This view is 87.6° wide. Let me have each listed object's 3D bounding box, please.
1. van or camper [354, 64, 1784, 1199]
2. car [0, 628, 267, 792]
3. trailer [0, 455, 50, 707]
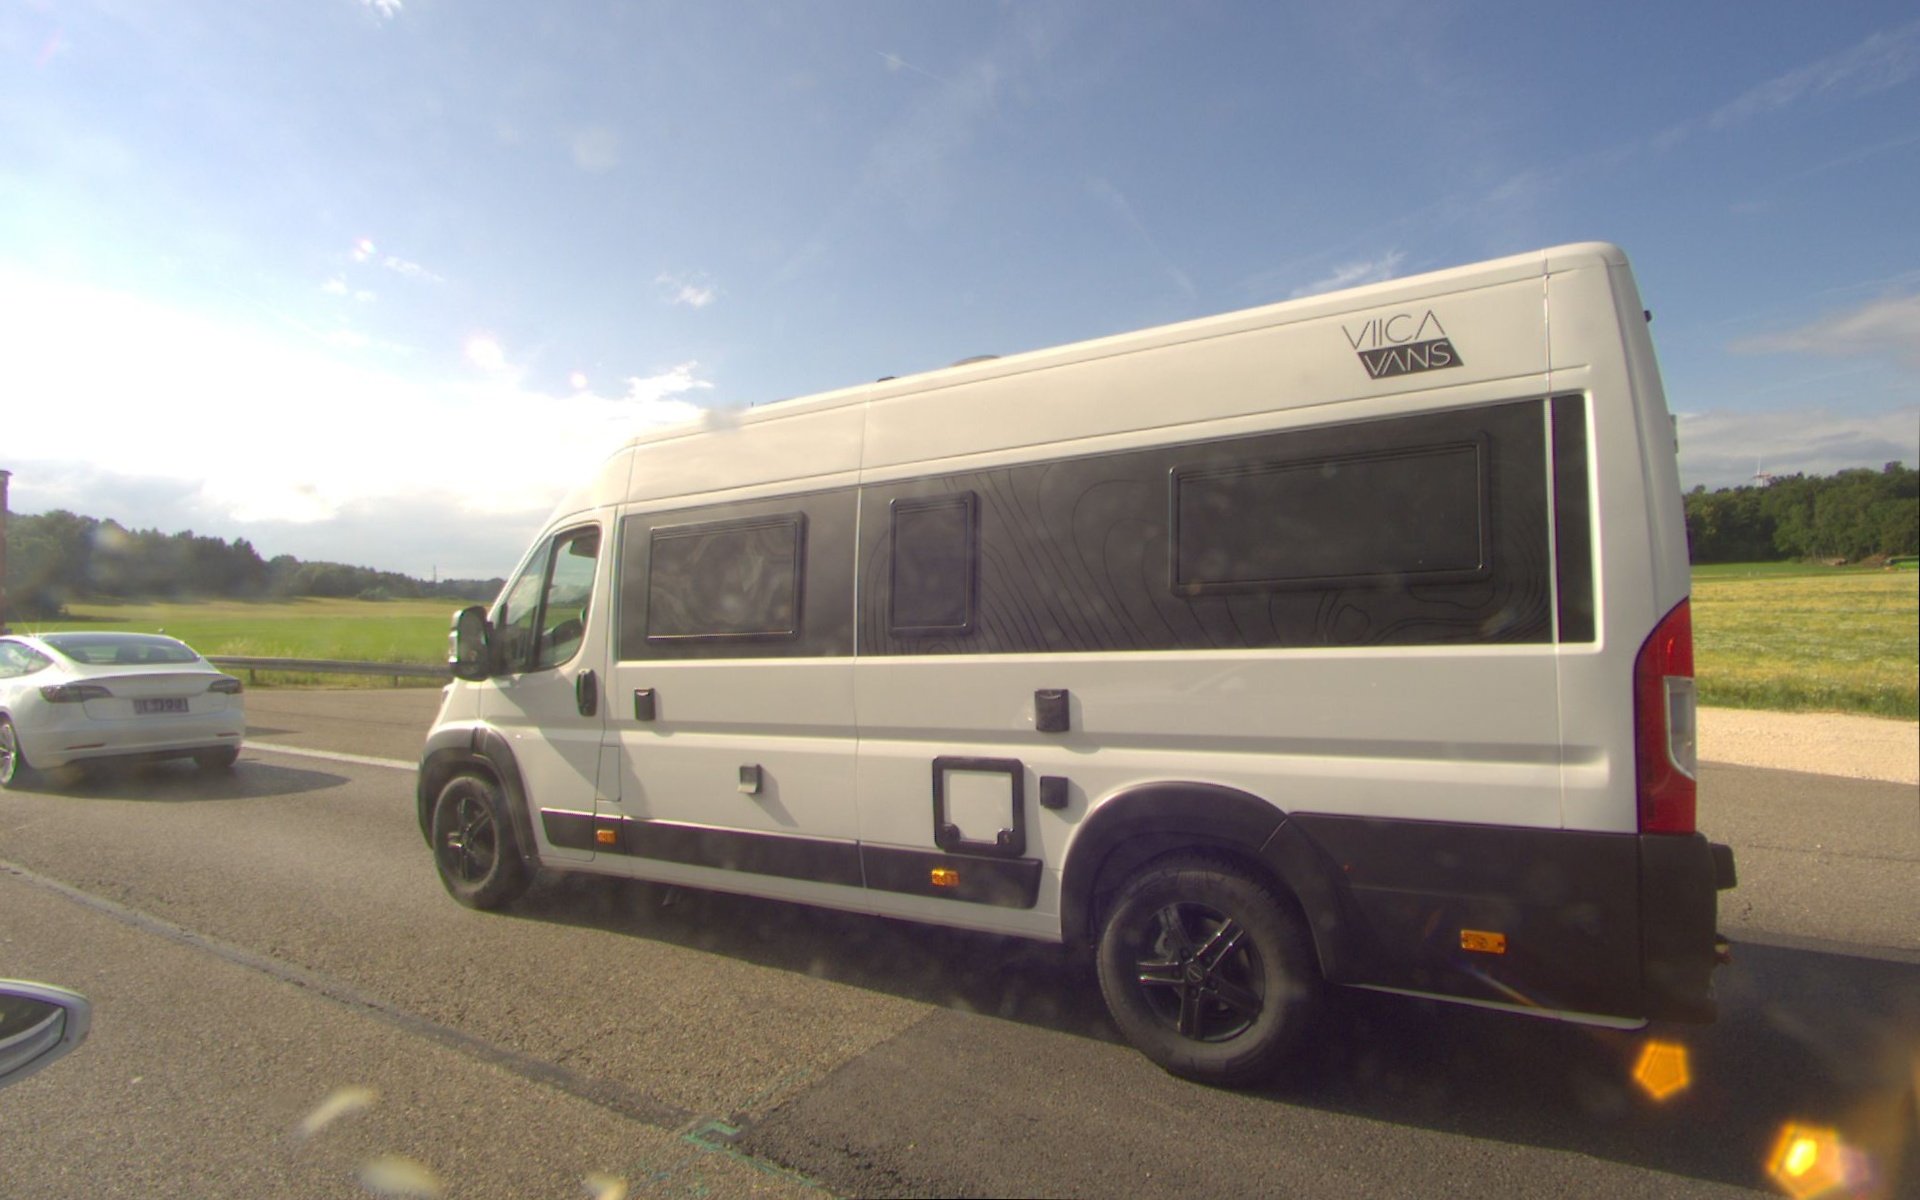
[{"bbox_3d":[-0.178,0.183,4.920,6.241,2.716,2.211,-1,-1,32],"label":"van or camper"},{"bbox_3d":[-9.401,1.008,10.614,4.372,1.412,1.786,-1,-1,31],"label":"car"},{"bbox_3d":[-21.468,-0.129,18.904,13.181,4.061,3.125,-2,-2,33],"label":"trailer"}]
